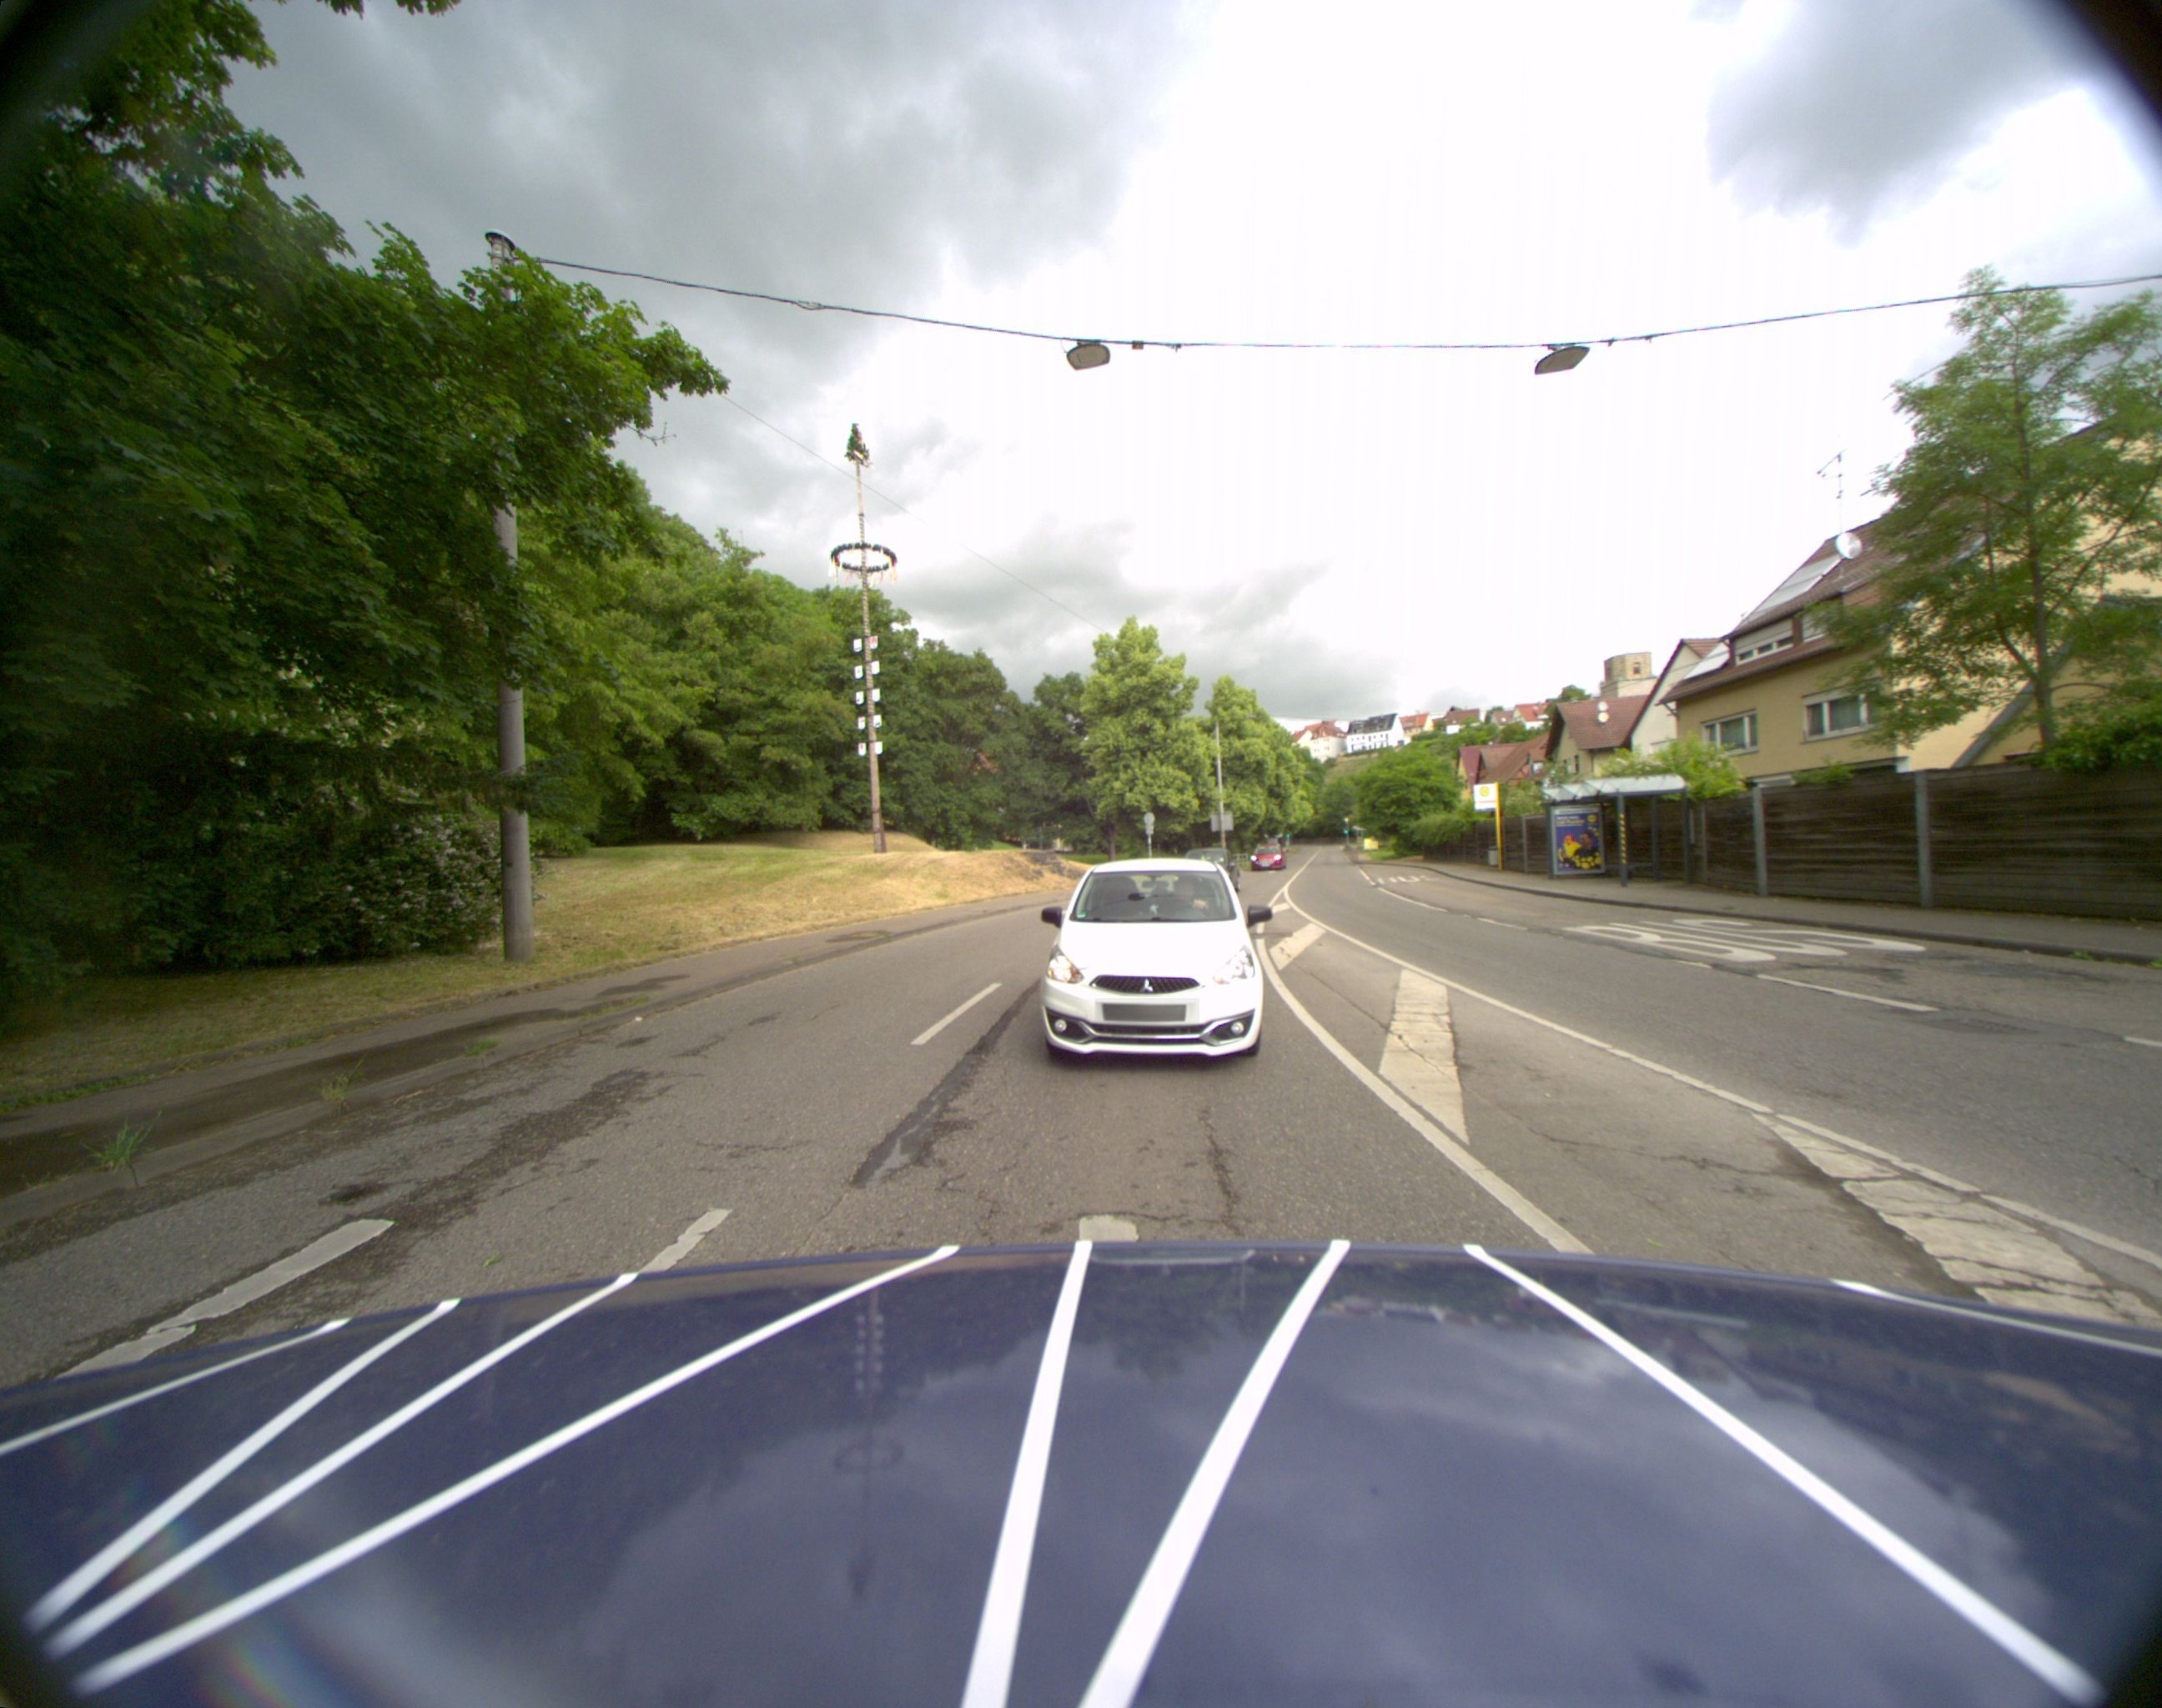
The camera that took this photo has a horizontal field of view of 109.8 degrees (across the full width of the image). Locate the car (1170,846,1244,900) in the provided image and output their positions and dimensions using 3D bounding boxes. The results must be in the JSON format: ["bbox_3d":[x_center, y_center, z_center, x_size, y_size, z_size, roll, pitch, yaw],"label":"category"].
[{"bbox_3d":[4.200,0.564,24.815,1.722,1.539,3.786,-2,1,19],"label":"car"}]

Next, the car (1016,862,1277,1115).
[{"bbox_3d":[0.683,0.900,6.684,1.617,1.505,3.607,-2,1,9],"label":"car"}]

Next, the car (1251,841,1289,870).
[{"bbox_3d":[11.862,0.038,47.582,1.825,1.662,4.063,-2,1,20],"label":"car"}]
